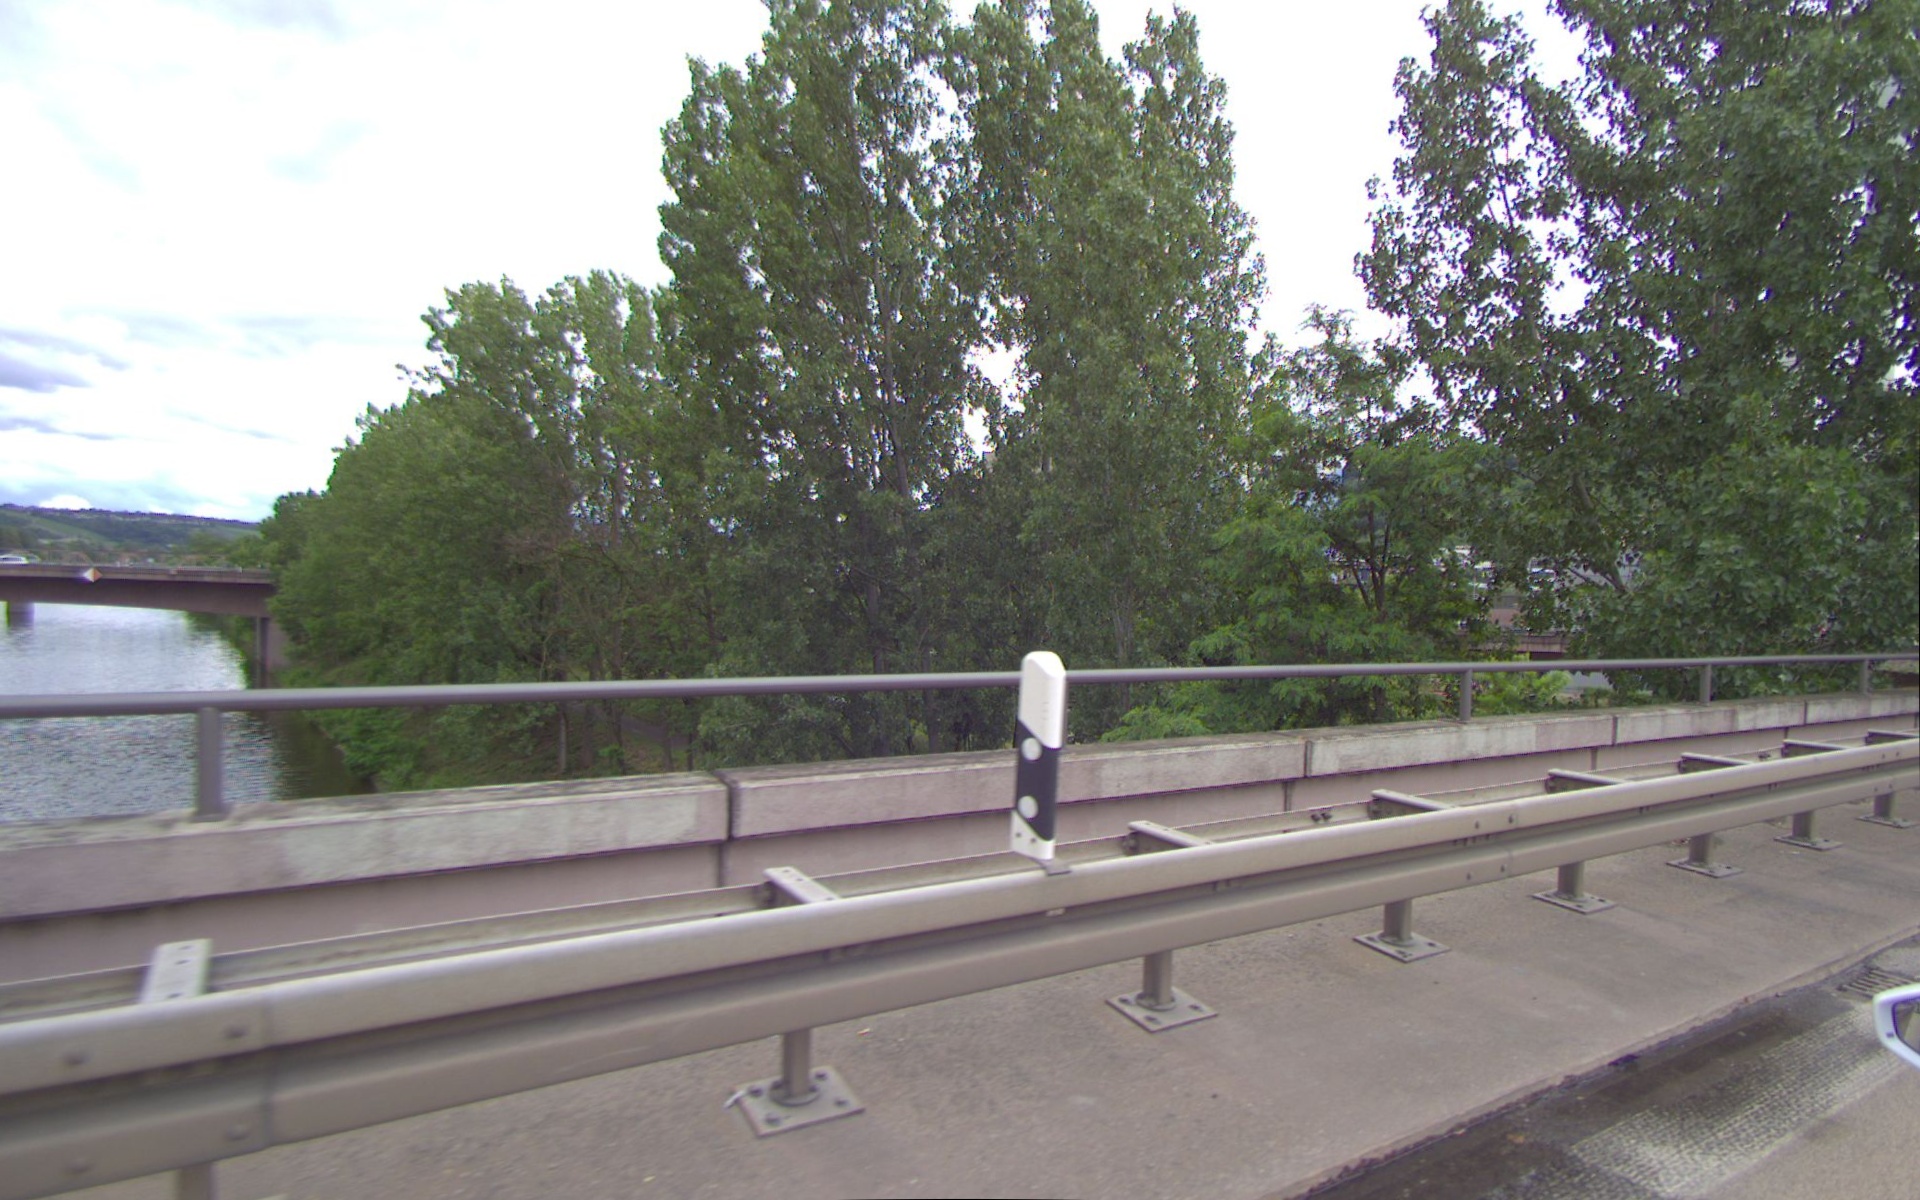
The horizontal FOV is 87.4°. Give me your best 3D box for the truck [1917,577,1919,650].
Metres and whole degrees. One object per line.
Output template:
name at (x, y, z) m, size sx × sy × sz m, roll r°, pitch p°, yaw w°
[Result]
truck at (49.053, 0.660, 47.053) m, size 3.000 × 3.722 × 7.927 m, roll 2°, pitch 0°, yaw 19°
